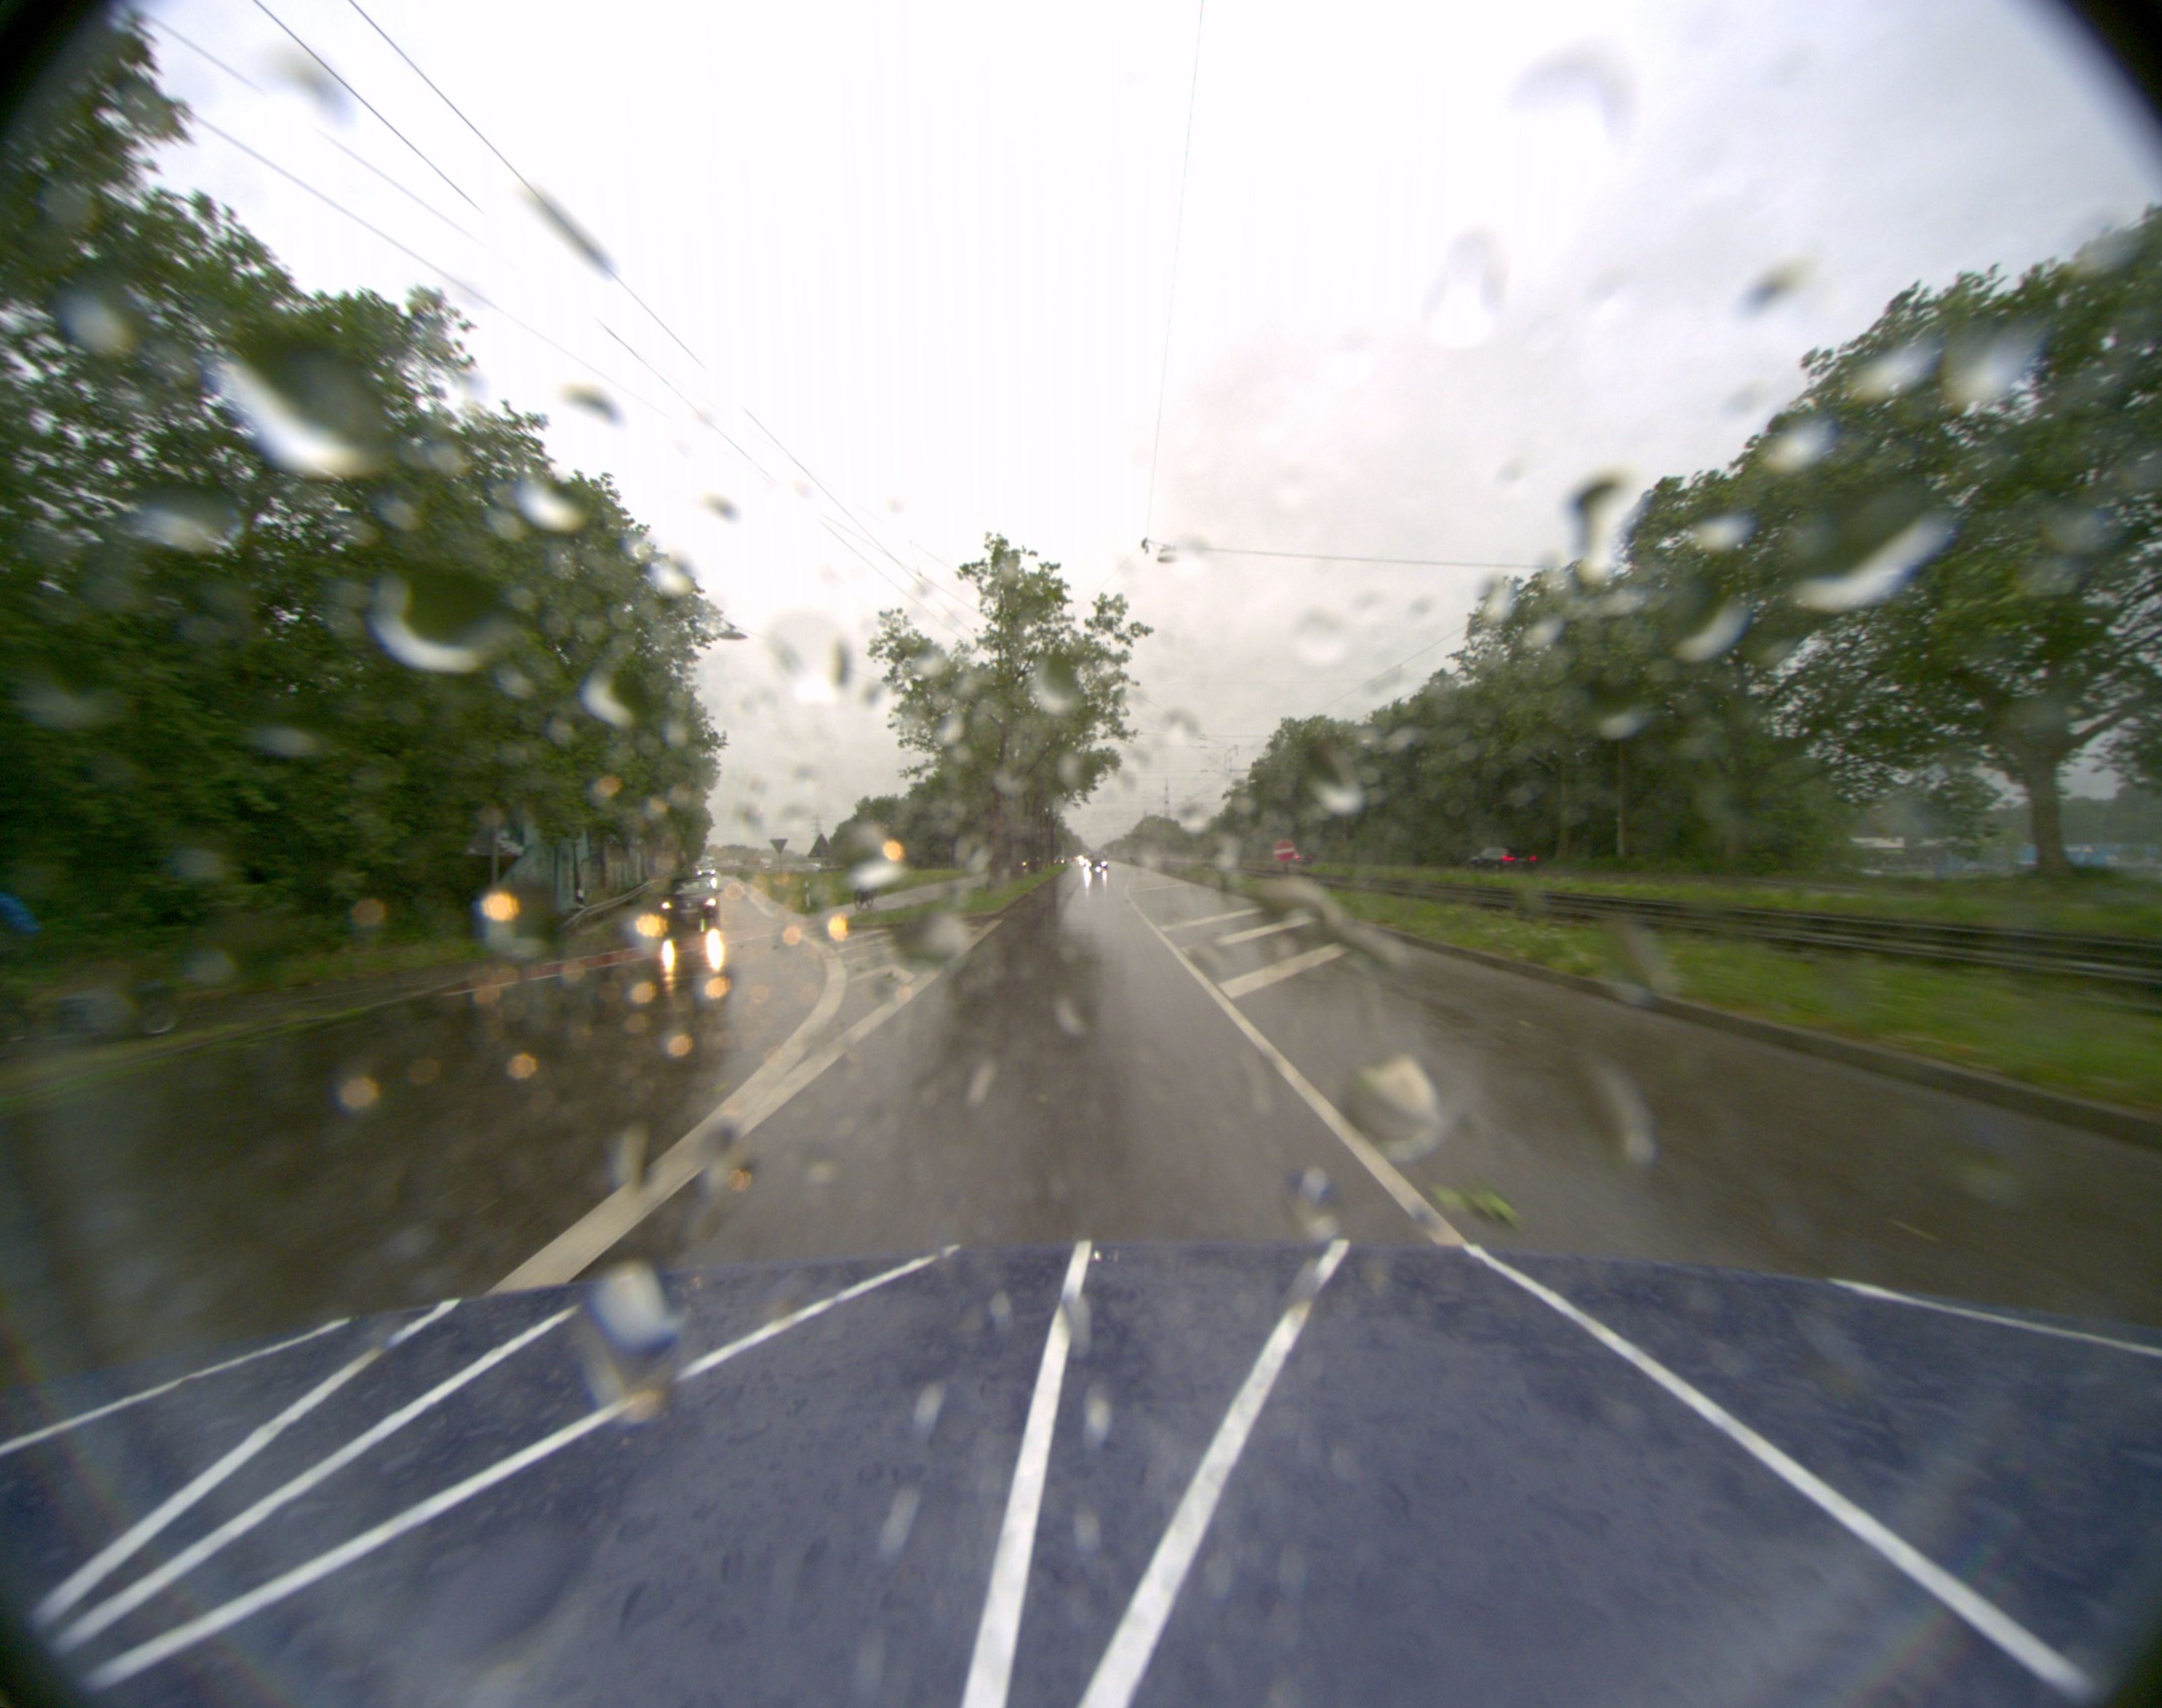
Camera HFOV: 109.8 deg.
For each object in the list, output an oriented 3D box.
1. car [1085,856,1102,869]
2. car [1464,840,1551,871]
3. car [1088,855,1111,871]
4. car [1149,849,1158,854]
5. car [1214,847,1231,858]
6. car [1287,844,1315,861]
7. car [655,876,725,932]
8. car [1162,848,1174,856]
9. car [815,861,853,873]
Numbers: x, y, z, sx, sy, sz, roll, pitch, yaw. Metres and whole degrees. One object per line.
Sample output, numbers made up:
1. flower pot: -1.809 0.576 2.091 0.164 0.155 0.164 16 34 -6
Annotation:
1. car: 1.477 1.030 90.807 1.971 1.412 3.999 0 1 0
2. car: 23.123 0.050 41.404 2.218 1.519 4.277 -2 1 -2
3. car: 1.669 0.811 69.175 1.971 1.412 3.999 0 1 0
4. car: 18.489 -0.648 193.376 1.776 1.323 4.379 -2 0 -1
5. car: 20.178 -0.208 108.605 1.686 1.398 3.938 -2 1 -1
6. car: 22.395 -0.171 77.430 1.655 1.559 4.046 -2 1 -1
7. car: -13.167 1.615 25.776 1.871 1.528 4.507 -2 1 -25
8. car: 18.461 -0.419 161.485 1.695 1.514 4.954 -2 0 -1
9. car: -29.696 1.537 91.388 3.995 1.412 1.753 0 1 6
